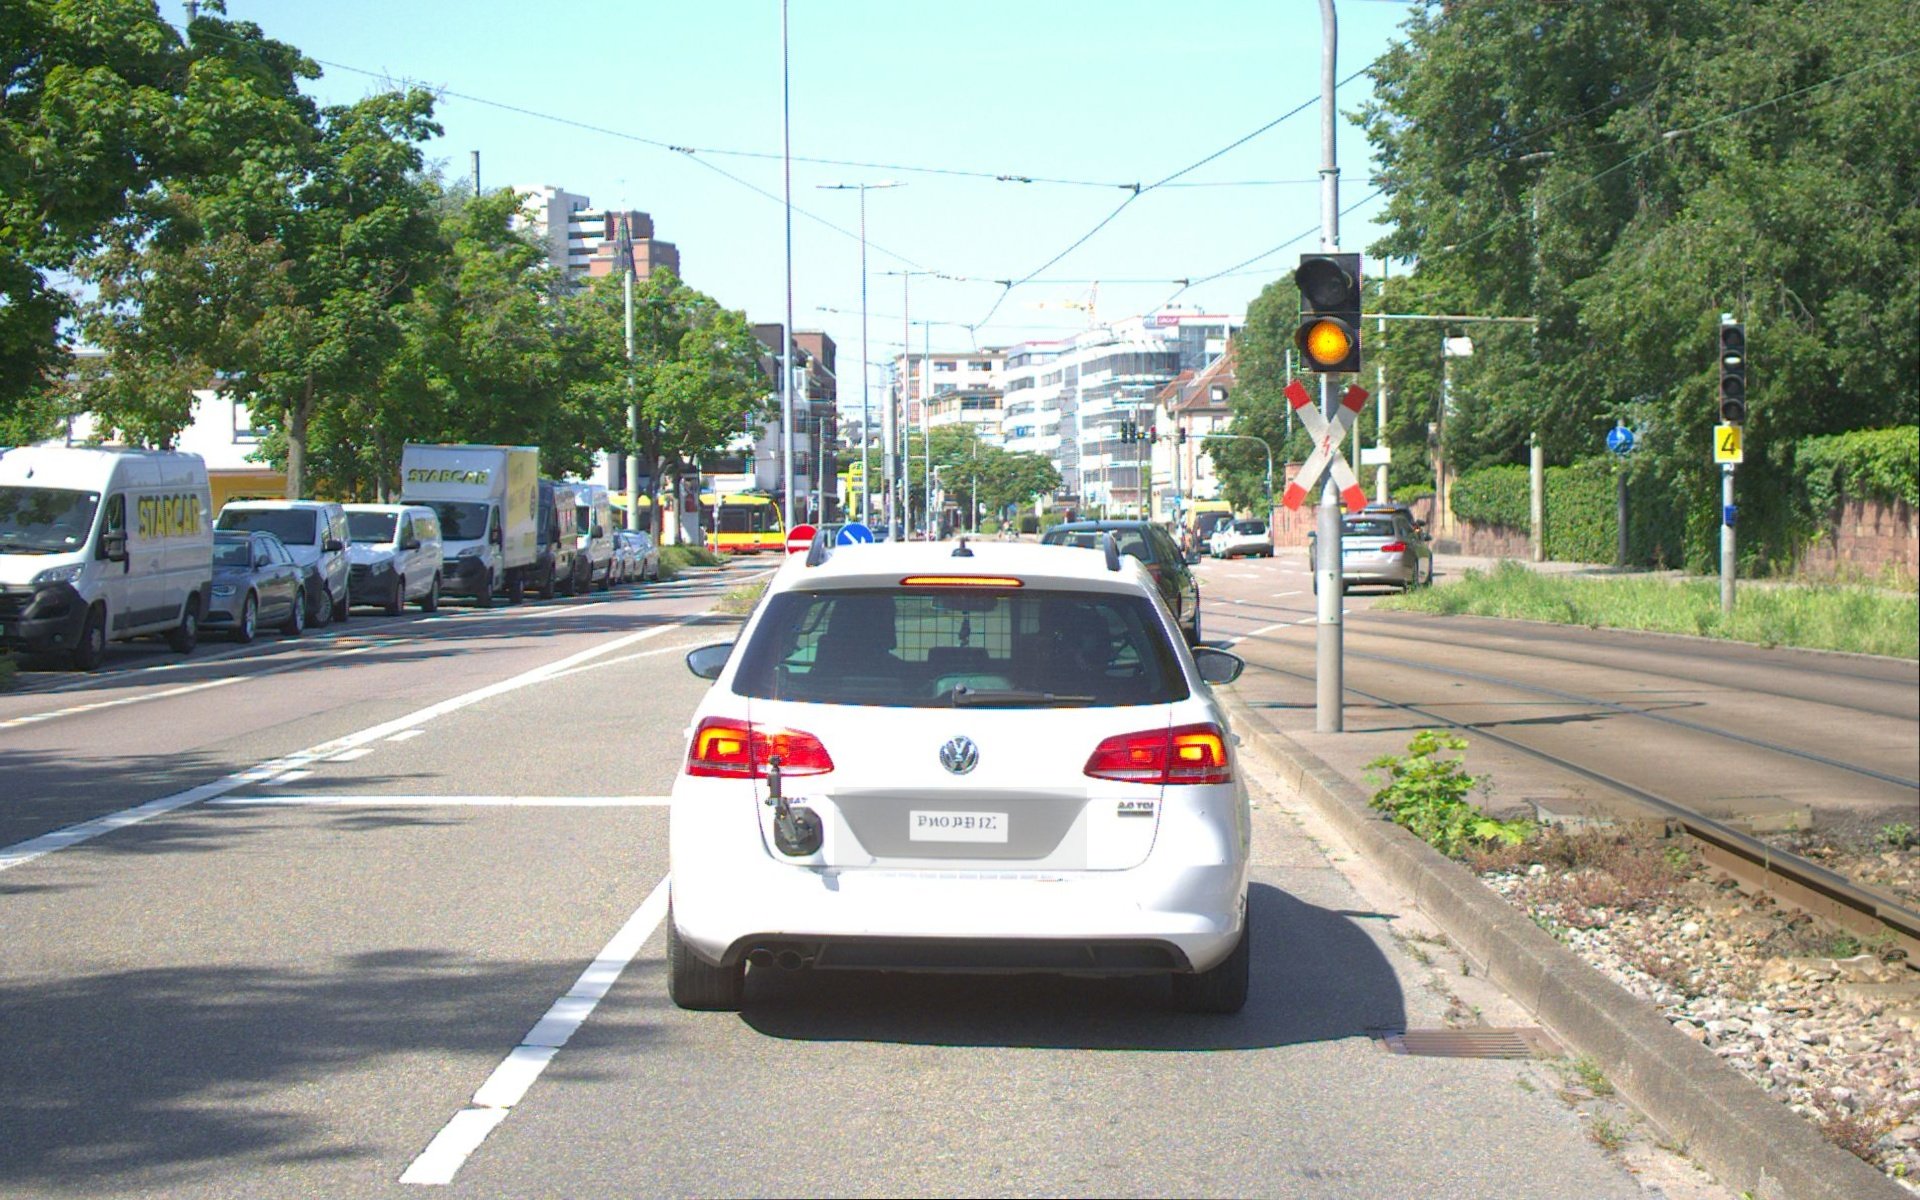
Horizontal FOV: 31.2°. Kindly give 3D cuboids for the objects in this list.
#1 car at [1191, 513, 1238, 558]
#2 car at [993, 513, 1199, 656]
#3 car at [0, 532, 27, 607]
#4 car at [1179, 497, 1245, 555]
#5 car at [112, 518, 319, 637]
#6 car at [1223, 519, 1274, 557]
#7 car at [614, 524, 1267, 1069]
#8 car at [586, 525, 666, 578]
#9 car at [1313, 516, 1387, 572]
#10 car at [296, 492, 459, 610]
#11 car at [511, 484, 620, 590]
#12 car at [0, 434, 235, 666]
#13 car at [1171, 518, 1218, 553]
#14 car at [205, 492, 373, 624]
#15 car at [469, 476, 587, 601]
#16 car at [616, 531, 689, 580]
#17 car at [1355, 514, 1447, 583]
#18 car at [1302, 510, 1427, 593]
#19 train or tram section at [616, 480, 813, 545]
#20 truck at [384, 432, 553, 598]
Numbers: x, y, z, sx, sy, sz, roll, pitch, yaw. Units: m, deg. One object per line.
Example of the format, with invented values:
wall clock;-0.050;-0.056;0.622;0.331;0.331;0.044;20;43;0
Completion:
car;10.555;-2.684;142.810;1.691;1.806;3.454;2;1;0
car;1.486;-0.201;36.186;1.746;1.383;3.912;1;2;8
car;-20.552;-0.579;67.396;3.987;1.439;1.771;-1;1;4
car;11.126;-3.260;152.465;2.463;2.490;5.910;2;1;0
car;-10.090;-0.339;46.870;1.843;1.511;4.197;-1;1;1
car;10.759;-2.302;128.274;1.581;1.341;3.454;2;1;0
car;-0.062;0.501;11.452;1.768;1.441;3.913;2;1;0
car;-9.582;-1.407;98.833;1.843;1.428;4.038;-1;1;1
car;10.258;-1.491;90.675;1.746;1.402;3.913;2;2;4
car;-10.117;-0.883;60.100;1.843;1.954;5.134;-1;1;1
car;-9.600;-1.562;84.098;1.843;2.486;5.856;-1;1;1
car;-10.429;-0.655;40.495;2.059;2.492;6.307;2;2;3
car;11.032;-3.025;162.092;1.993;1.590;4.000;2;1;1
car;-10.397;-0.695;53.611;1.843;1.930;5.195;-1;1;-3
car;-9.527;-1.382;76.205;1.843;2.659;5.003;-1;1;1
car;-9.340;-1.373;104.682;1.780;1.428;4.038;-1;1;1
car;10.088;-1.199;78.857;1.861;1.507;3.913;2;2;5
car;7.429;-0.899;62.873;1.862;1.412;4.323;2;2;12
train or tram section;-13.294;-4.713;185.173;11.258;3.241;2.304;2;1;31
truck;-9.731;-1.702;68.629;2.356;3.112;6.892;-1;1;0
